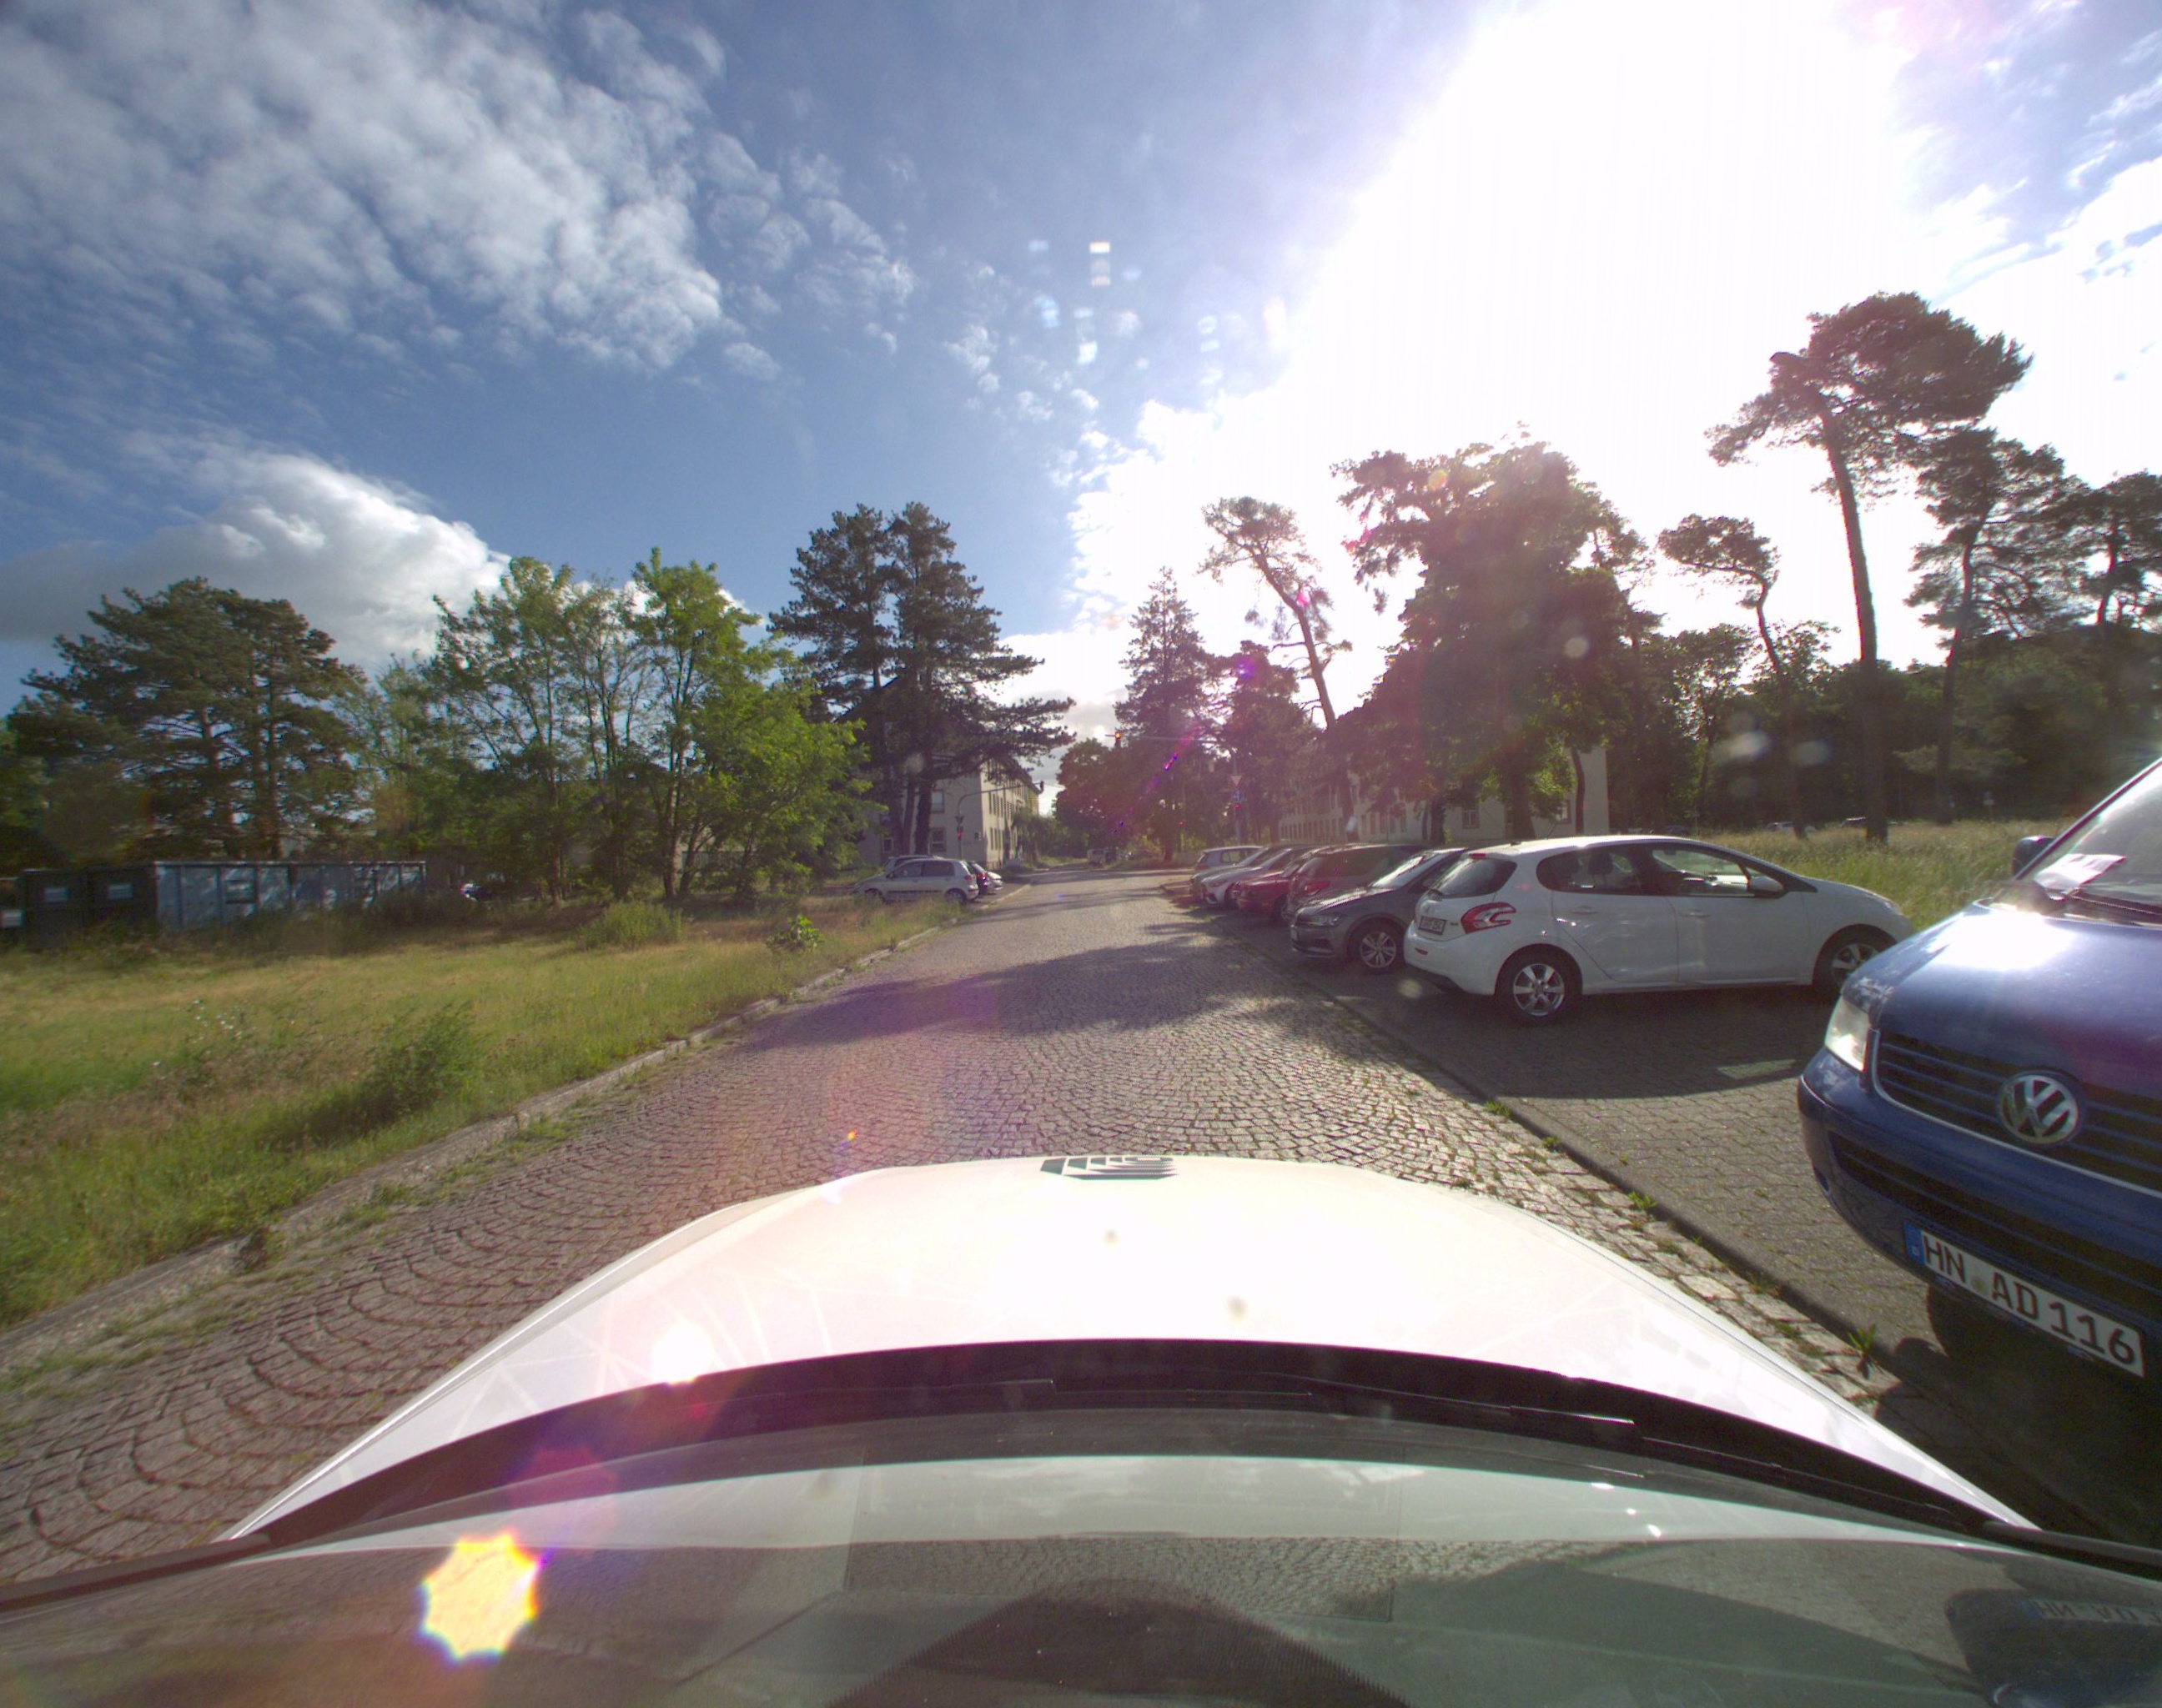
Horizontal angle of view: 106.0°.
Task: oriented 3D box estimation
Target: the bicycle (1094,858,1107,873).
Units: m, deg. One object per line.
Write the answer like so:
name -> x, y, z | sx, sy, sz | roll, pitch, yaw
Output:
bicycle -> 1.711, 0.991, 71.375 | 0.803, 1.169, 2.177 | -4, 0, -5

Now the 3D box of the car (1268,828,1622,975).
car -> 4.400, 0.548, 10.227 | 3.664, 1.467, 1.645 | -4, 0, -1

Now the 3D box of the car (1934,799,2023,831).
car -> 63.510, -2.726, 57.671 | 3.973, 2.013, 2.000 | -3, 0, 1

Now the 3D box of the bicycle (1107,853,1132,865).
bicycle -> 3.565, 0.454, 75.953 | 2.172, 1.100, 0.804 | -2, 0, -9

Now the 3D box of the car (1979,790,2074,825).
car -> 63.365, -3.103, 54.608 | 3.973, 2.013, 2.000 | -3, 0, 1

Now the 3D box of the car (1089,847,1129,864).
car -> 3.158, 0.179, 92.298 | 4.465, 1.728, 2.000 | -2, 0, 0

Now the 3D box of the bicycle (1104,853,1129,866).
bicycle -> 3.269, 0.495, 74.819 | 2.172, 1.100, 0.804 | -2, 0, -9

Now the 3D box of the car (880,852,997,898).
car -> -5.280, 0.748, 30.532 | 3.973, 1.601, 2.000 | 1, 0, 0

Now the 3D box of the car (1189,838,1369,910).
car -> 4.873, 0.467, 20.375 | 4.025, 1.529, 1.644 | -3, 0, -3

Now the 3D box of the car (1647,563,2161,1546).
car -> 4.526, 0.315, 2.084 | 4.662, 2.013, 2.083 | -3, 0, 0

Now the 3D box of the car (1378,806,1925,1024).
car -> 4.847, 0.487, 7.333 | 3.680, 1.465, 1.646 | -4, 0, 1

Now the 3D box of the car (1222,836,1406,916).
car -> 5.109, 0.462, 18.189 | 3.591, 1.529, 1.645 | -3, 0, -1

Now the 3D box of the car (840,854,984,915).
car -> -5.117, 0.898, 25.139 | 3.976, 1.600, 1.999 | -3, 0, -2

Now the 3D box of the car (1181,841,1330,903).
car -> 4.886, 0.482, 23.147 | 3.823, 1.529, 1.645 | -3, 0, -1

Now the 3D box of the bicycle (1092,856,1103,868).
bicycle -> 1.496, 0.744, 74.887 | 0.803, 1.100, 2.177 | -2, 0, -5

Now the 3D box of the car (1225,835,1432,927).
car -> 4.713, 0.486, 15.836 | 3.467, 1.529, 1.645 | -3, 0, -1

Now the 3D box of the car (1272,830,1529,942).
car -> 5.031, 0.481, 13.139 | 3.467, 1.529, 1.645 | -3, 0, -1

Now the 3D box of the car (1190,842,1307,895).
car -> 5.247, 0.435, 25.784 | 3.333, 1.482, 1.645 | -3, 0, -1

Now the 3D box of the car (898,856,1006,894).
car -> -5.150, 0.837, 32.932 | 3.973, 1.453, 2.000 | 0, 0, 0

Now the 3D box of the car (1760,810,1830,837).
car -> 59.087, -2.529, 67.465 | 3.973, 2.013, 2.000 | -3, 0, 1
